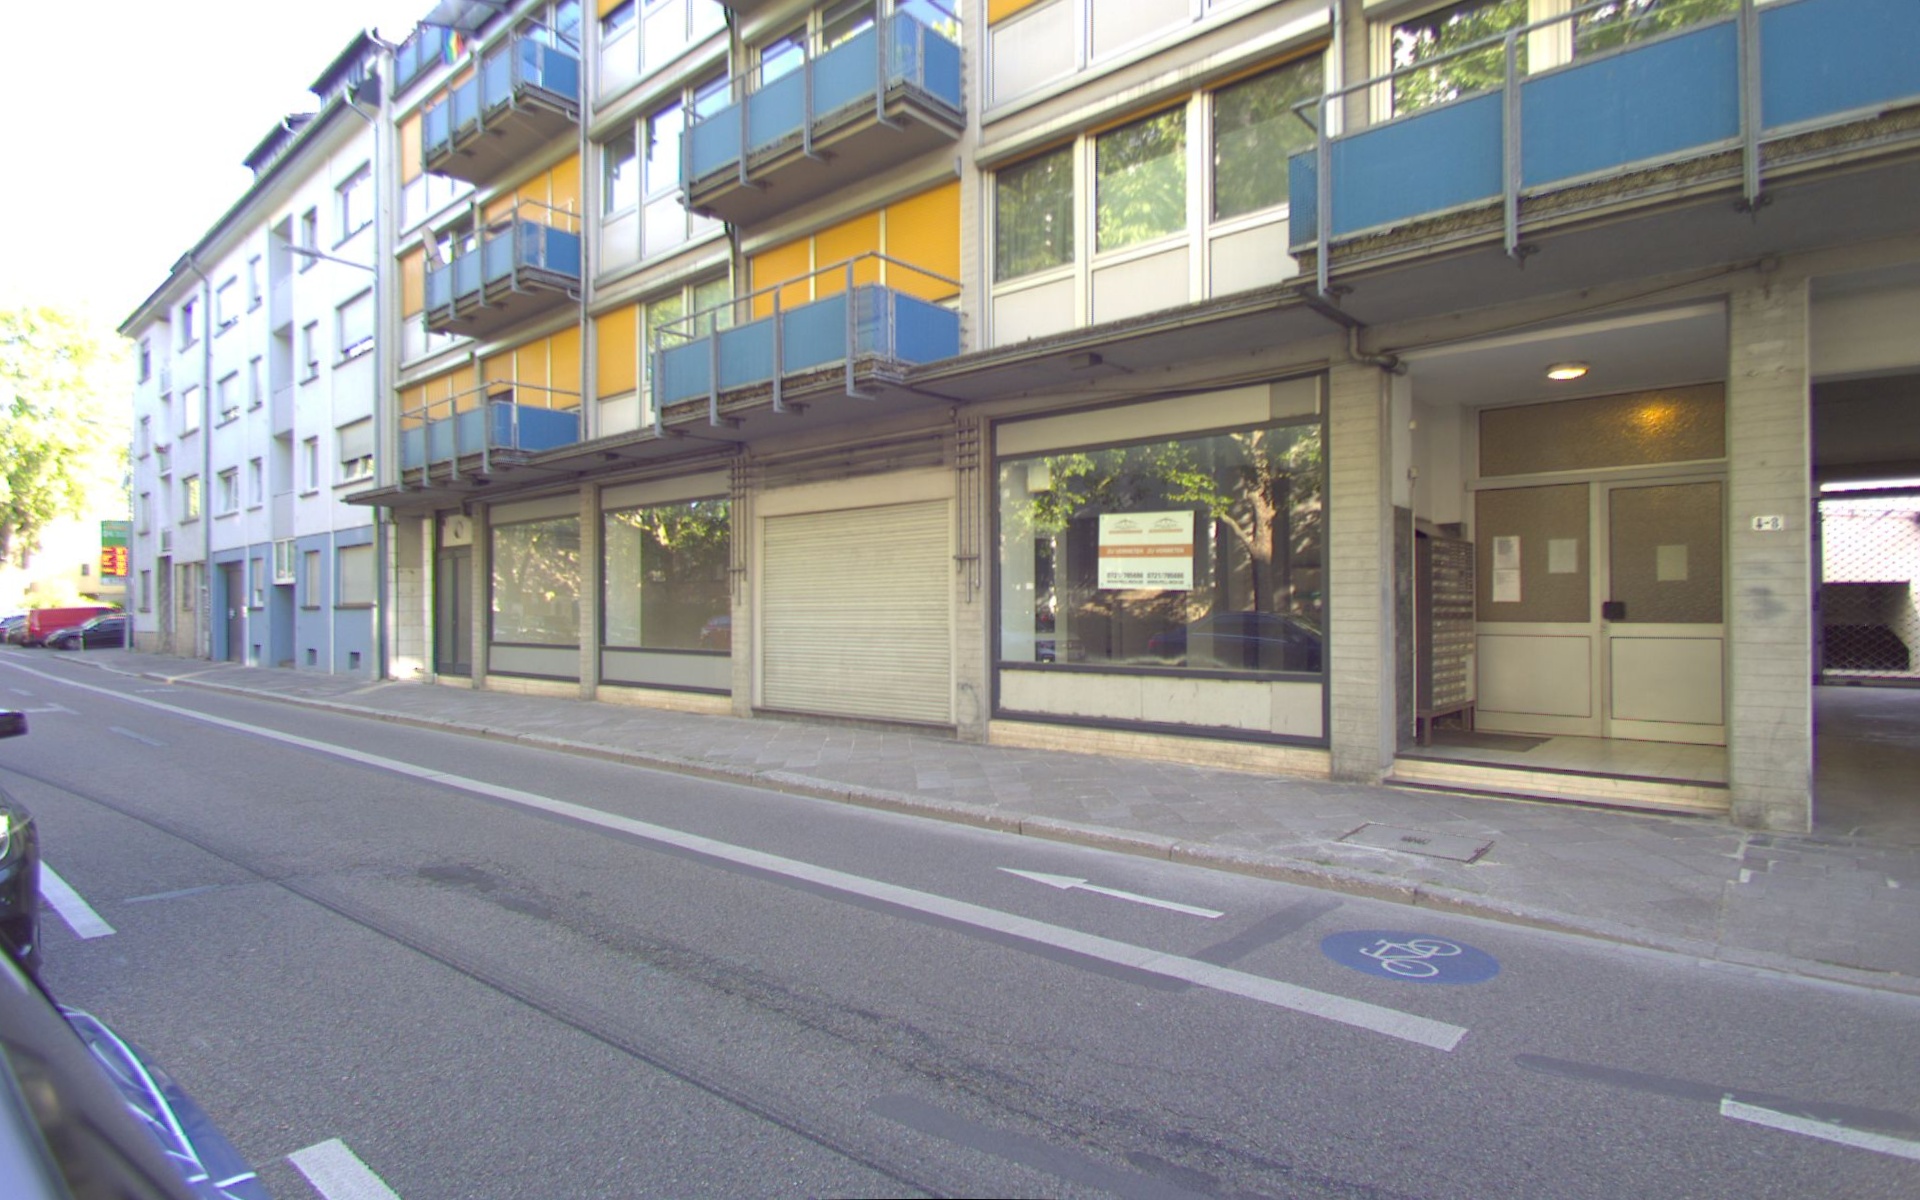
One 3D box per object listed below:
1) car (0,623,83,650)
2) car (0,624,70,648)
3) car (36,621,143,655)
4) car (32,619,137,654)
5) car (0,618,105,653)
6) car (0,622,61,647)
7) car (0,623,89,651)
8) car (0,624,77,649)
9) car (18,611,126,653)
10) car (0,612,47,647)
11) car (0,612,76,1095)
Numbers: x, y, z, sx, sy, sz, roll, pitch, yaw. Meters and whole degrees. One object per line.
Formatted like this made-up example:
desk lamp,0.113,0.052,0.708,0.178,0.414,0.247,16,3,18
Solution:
car,-53.422,2.096,58.600,1.594,1.385,3.854,-1,0,42
car,-57.245,2.179,62.039,1.525,1.343,3.854,-1,0,42
car,-39.852,1.732,46.392,1.534,1.420,3.551,-2,-1,42
car,-41.570,1.686,48.088,1.602,1.521,3.620,-1,0,42
car,-46.111,1.764,51.443,1.603,1.598,3.854,-1,0,42
car,-59.275,2.166,63.797,1.539,1.451,3.733,-1,0,42
car,-51.908,2.077,57.260,1.594,1.385,3.854,-1,0,42
car,-55.438,2.156,60.478,1.525,1.343,3.854,-1,0,42
car,-43.764,1.549,49.905,1.749,1.921,3.854,-1,-1,42
car,-62.774,1.944,66.627,1.725,2.193,3.854,-1,0,42
car,-5.122,0.826,4.017,4.291,1.515,1.805,-1,0,40
